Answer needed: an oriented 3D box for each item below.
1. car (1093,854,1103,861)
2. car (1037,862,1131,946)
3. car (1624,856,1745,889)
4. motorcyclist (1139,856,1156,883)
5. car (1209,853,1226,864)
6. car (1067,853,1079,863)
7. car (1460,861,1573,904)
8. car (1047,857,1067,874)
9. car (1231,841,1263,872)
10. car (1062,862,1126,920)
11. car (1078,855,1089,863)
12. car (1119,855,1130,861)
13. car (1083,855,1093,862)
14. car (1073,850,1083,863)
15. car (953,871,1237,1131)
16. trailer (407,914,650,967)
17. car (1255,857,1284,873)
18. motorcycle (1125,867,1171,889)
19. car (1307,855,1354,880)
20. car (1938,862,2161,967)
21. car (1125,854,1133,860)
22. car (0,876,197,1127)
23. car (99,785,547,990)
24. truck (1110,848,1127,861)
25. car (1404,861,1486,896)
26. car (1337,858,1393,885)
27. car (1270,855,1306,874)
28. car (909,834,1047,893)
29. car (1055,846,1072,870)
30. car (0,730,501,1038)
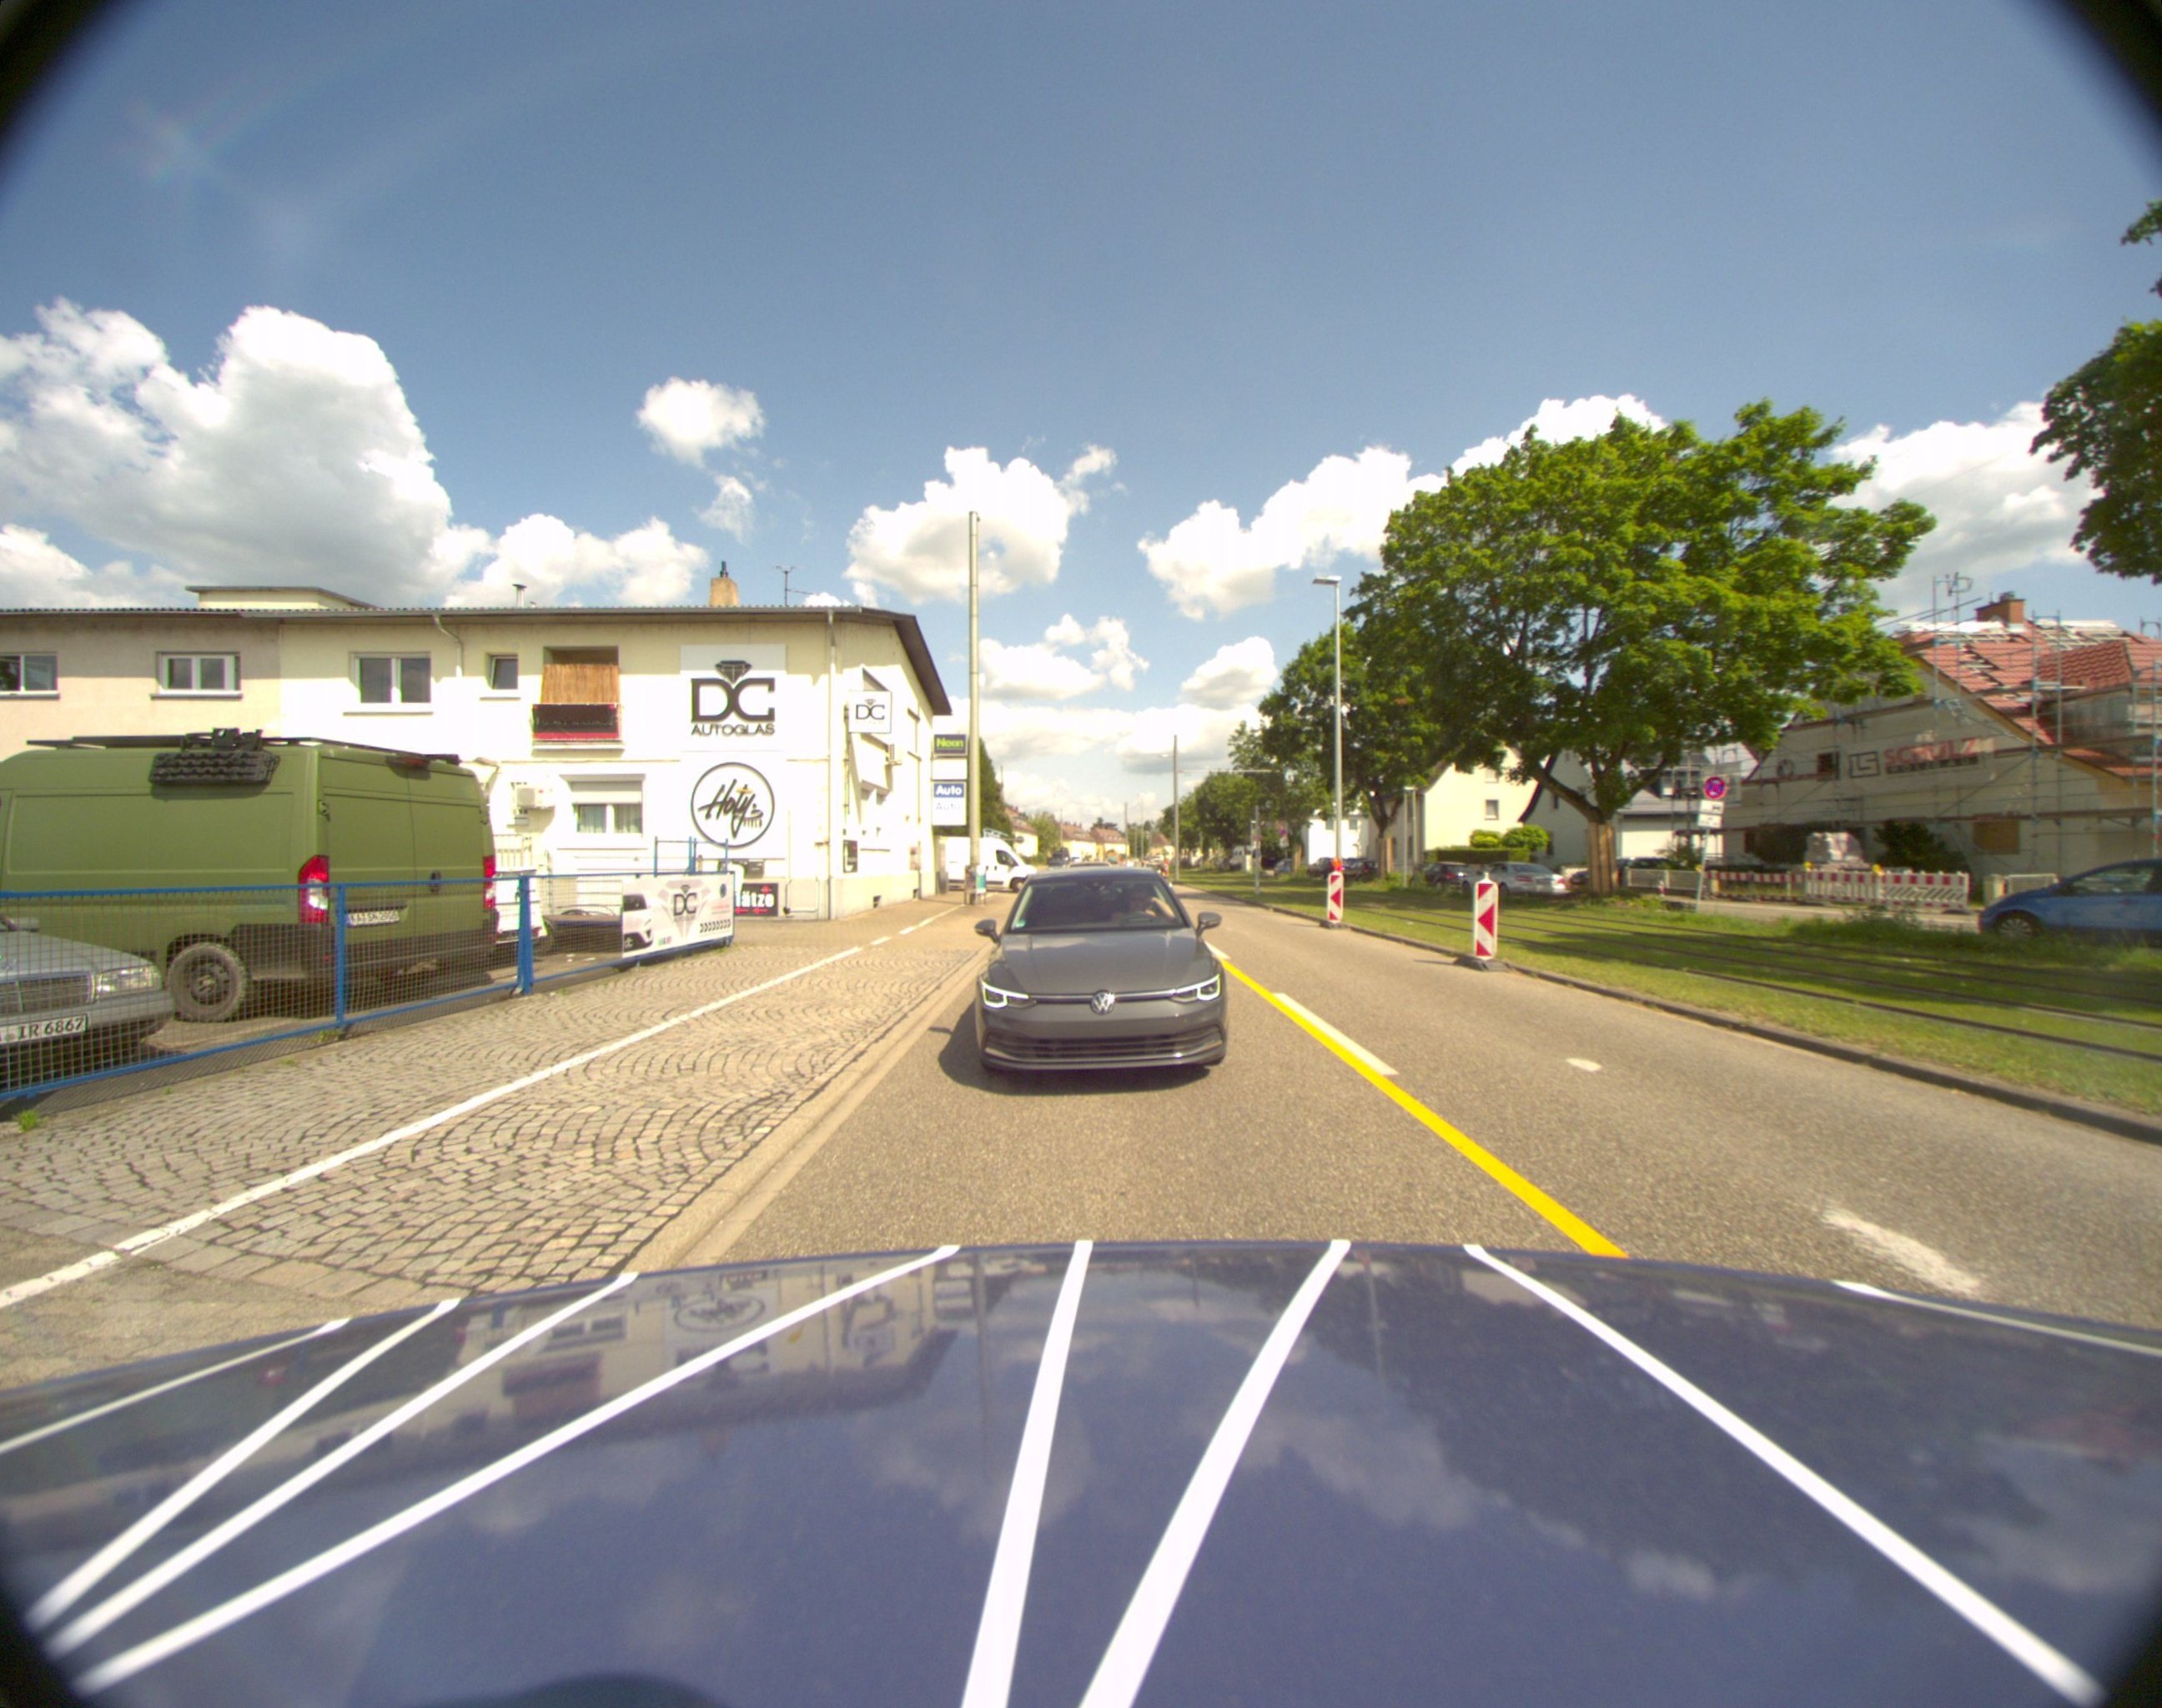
[{"bbox_3d":[3.869,0.898,173.598,1.700,1.574,4.004,0,0,12],"label":"car"},{"bbox_3d":[0.082,0.936,15.769,1.702,1.477,4.000,0,0,1],"label":"car"},{"bbox_3d":[28.911,0.883,36.509,4.402,1.477,1.704,-1,-1,1],"label":"car"},{"bbox_3d":[3.108,0.717,35.562,0.779,1.284,0.659,0,0,2],"label":"motorcyclist"},{"bbox_3d":[18.784,0.664,104.731,1.701,1.477,4.407,-1,-1,2],"label":"car"},{"bbox_3d":[-1.299,0.662,123.041,1.701,1.574,4.001,0,0,3],"label":"car"},{"bbox_3d":[16.437,1.060,28.955,1.788,1.477,4.523,-1,-1,2],"label":"car"},{"bbox_3d":[-2.176,1.040,70.755,1.702,1.574,4.000,0,0,1],"label":"car"},{"bbox_3d":[16.827,0.265,77.271,2.136,3.019,5.084,-1,-1,1],"label":"car"},{"bbox_3d":[0.364,1.005,22.212,1.702,1.477,4.000,0,0,1],"label":"car"},{"bbox_3d":[0.504,0.891,146.708,1.701,1.574,4.002,0,0,6],"label":"car"},{"bbox_3d":[10.030,0.940,174.485,2.116,1.477,4.408,0,0,9],"label":"car"},{"bbox_3d":[1.463,0.894,155.838,1.701,1.574,4.002,0,0,7],"label":"car"},{"bbox_3d":[-0.477,0.409,136.211,1.701,2.233,4.947,0,0,2],"label":"car"},{"bbox_3d":[0.113,0.932,6.564,1.702,1.477,4.000,0,0,1],"label":"car"},{"bbox_3d":[-8.364,1.303,11.662,2.733,0.662,1.329,0,0,-1],"label":"trailer"},{"bbox_3d":[17.656,1.069,71.326,1.702,1.477,4.407,-1,-1,1],"label":"car"},{"bbox_3d":[3.121,1.120,35.567,2.109,1.040,0.659,0,0,3],"label":"motorcycle"},{"bbox_3d":[16.561,0.891,50.660,1.702,1.562,4.407,-1,-1,1],"label":"car"},{"bbox_3d":[16.196,0.861,11.399,1.702,1.477,4.407,-1,-1,1],"label":"car"},{"bbox_3d":[13.849,0.928,218.682,1.700,1.574,4.005,0,0,16],"label":"car"},{"bbox_3d":[-8.456,0.885,4.776,4.282,1.444,1.713,0,0,8],"label":"car"},{"bbox_3d":[-9.498,0.399,9.733,4.207,2.392,1.586,0,0,2],"label":"car"},{"bbox_3d":[9.937,0.128,201.051,2.710,3.119,8.124,0,0,15],"label":"truck"},{"bbox_3d":[16.631,1.114,34.937,1.702,1.477,4.407,-1,-1,1],"label":"car"},{"bbox_3d":[16.777,1.028,45.154,1.702,1.477,4.407,-1,-1,1],"label":"car"},{"bbox_3d":[16.652,0.867,61.281,1.702,1.477,4.407,-1,-1,1],"label":"car"},{"bbox_3d":[-4.573,0.420,34.388,5.836,2.449,2.092,2,0,1],"label":"car"},{"bbox_3d":[-1.902,0.441,82.440,1.702,2.510,5.144,0,0,0],"label":"car"},{"bbox_3d":[-8.723,0.267,7.612,4.207,2.627,2.113,0,0,2],"label":"car"}]
